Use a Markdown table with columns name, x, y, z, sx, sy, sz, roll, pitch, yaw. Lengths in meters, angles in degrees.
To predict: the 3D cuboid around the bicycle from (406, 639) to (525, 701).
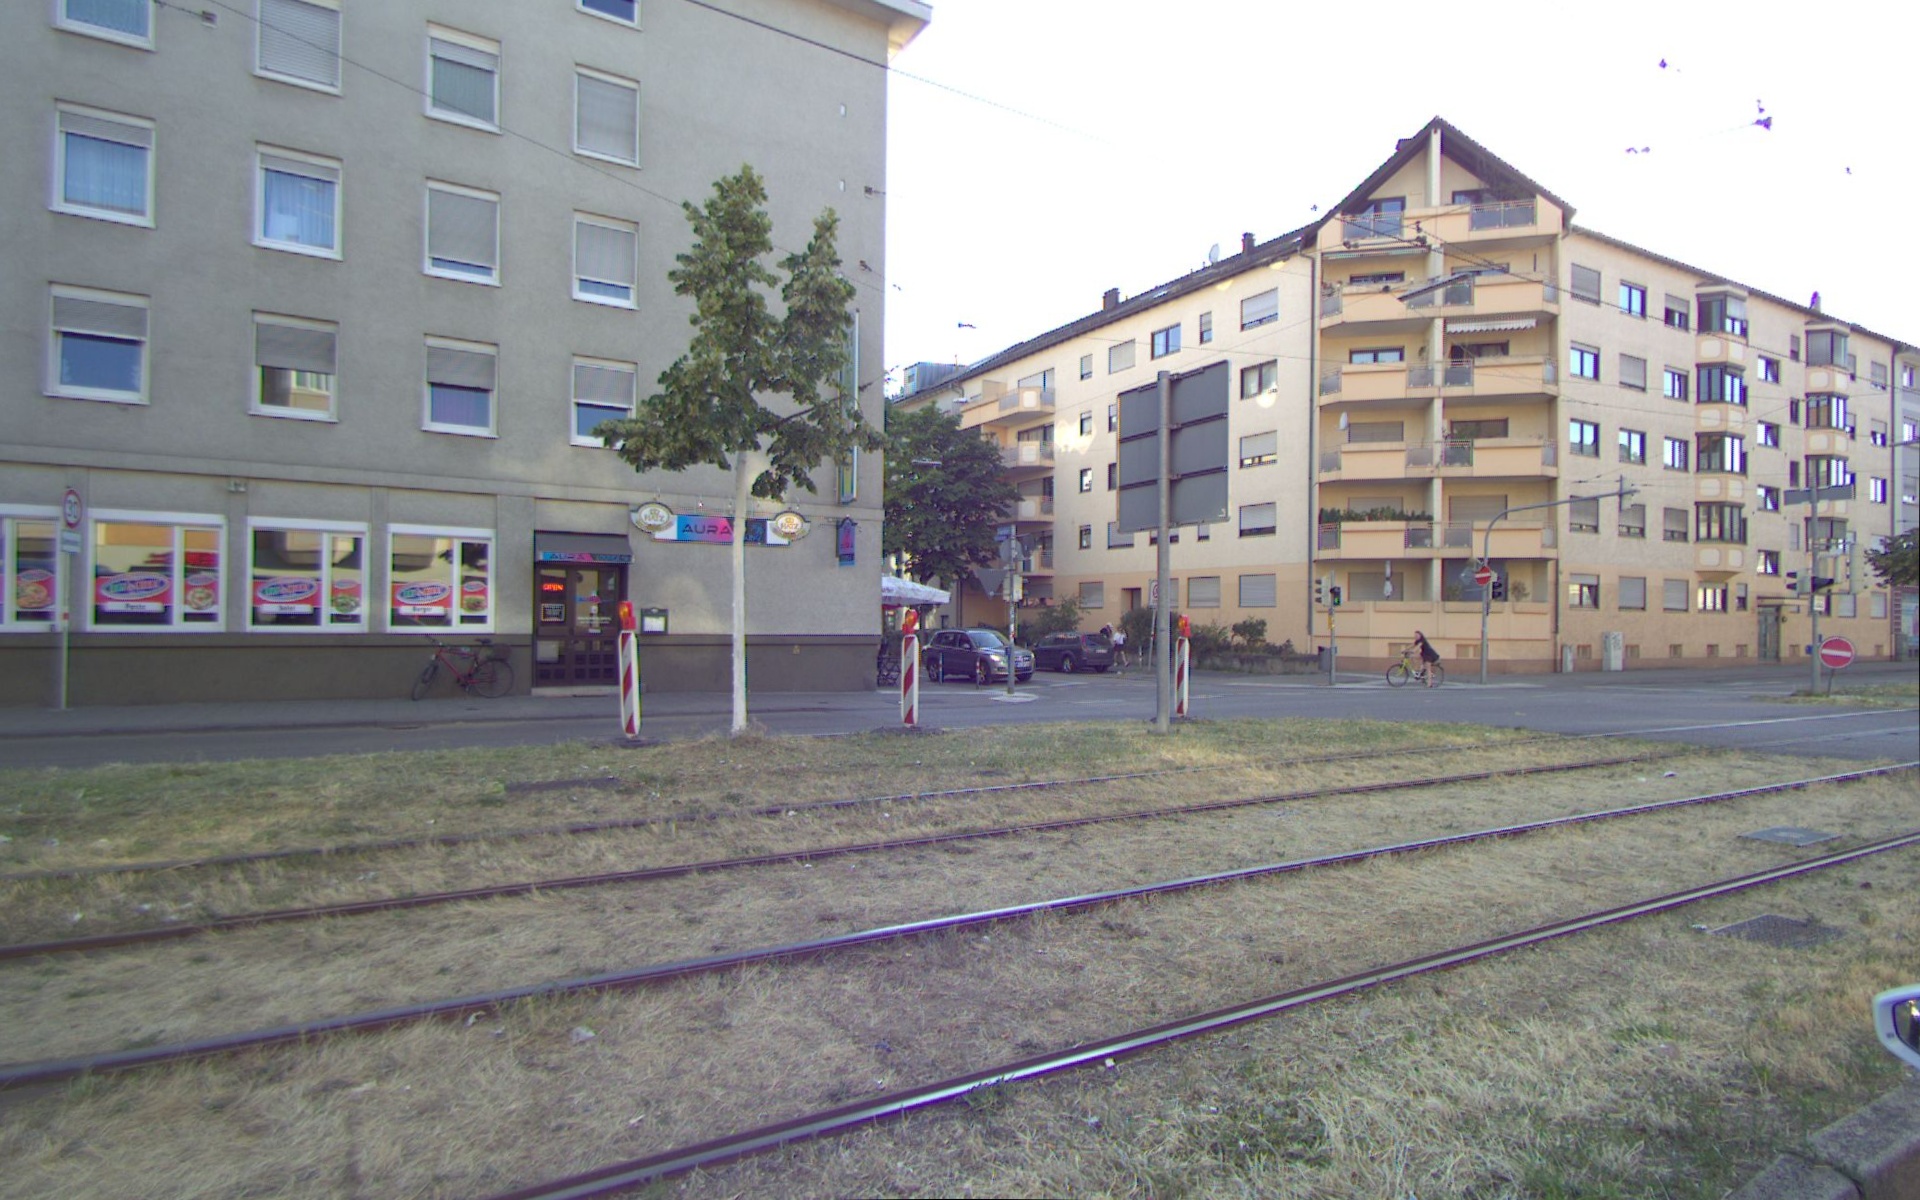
| name | x | y | z | sx | sy | sz | roll | pitch | yaw |
| --- | --- | --- | --- | --- | --- | --- | --- | --- | --- |
| bicycle | -8.712 | 1.224 | 17.724 | 1.823 | 1.037 | 0.605 | 2 | 0 | -31 |

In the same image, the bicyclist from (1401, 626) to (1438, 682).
| name | x | y | z | sx | sy | sz | roll | pitch | yaw |
| --- | --- | --- | --- | --- | --- | --- | --- | --- | --- |
| bicyclist | 13.395 | 1.558 | 29.276 | 0.793 | 1.607 | 0.628 | 0 | 0 | 4 |

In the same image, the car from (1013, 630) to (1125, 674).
| name | x | y | z | sx | sy | sz | roll | pitch | yaw |
| --- | --- | --- | --- | --- | --- | --- | --- | --- | --- |
| car | 4.023 | 1.900 | 37.568 | 1.982 | 1.462 | 3.957 | -1 | 0 | -38 |

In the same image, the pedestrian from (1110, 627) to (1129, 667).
| name | x | y | z | sx | sy | sz | roll | pitch | yaw |
| --- | --- | --- | --- | --- | --- | --- | --- | --- | --- |
| pedestrian | 6.381 | 1.865 | 40.128 | 0.509 | 1.573 | 0.547 | 1 | 0 | -24 |

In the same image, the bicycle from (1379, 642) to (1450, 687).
| name | x | y | z | sx | sy | sz | roll | pitch | yaw |
| --- | --- | --- | --- | --- | --- | --- | --- | --- | --- |
| bicycle | 13.235 | 1.884 | 29.254 | 1.833 | 1.274 | 0.457 | 0 | 0 | 3 |

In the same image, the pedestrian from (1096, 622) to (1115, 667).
| name | x | y | z | sx | sy | sz | roll | pitch | yaw |
| --- | --- | --- | --- | --- | --- | --- | --- | --- | --- |
| pedestrian | 5.787 | 1.765 | 39.945 | 0.456 | 1.727 | 0.589 | 2 | 0 | -24 |

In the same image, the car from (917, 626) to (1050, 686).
| name | x | y | z | sx | sy | sz | roll | pitch | yaw |
| --- | --- | --- | --- | --- | --- | --- | --- | --- | --- |
| car | 0.659 | 1.686 | 31.382 | 1.982 | 1.645 | 4.153 | -1 | 0 | -38 |
